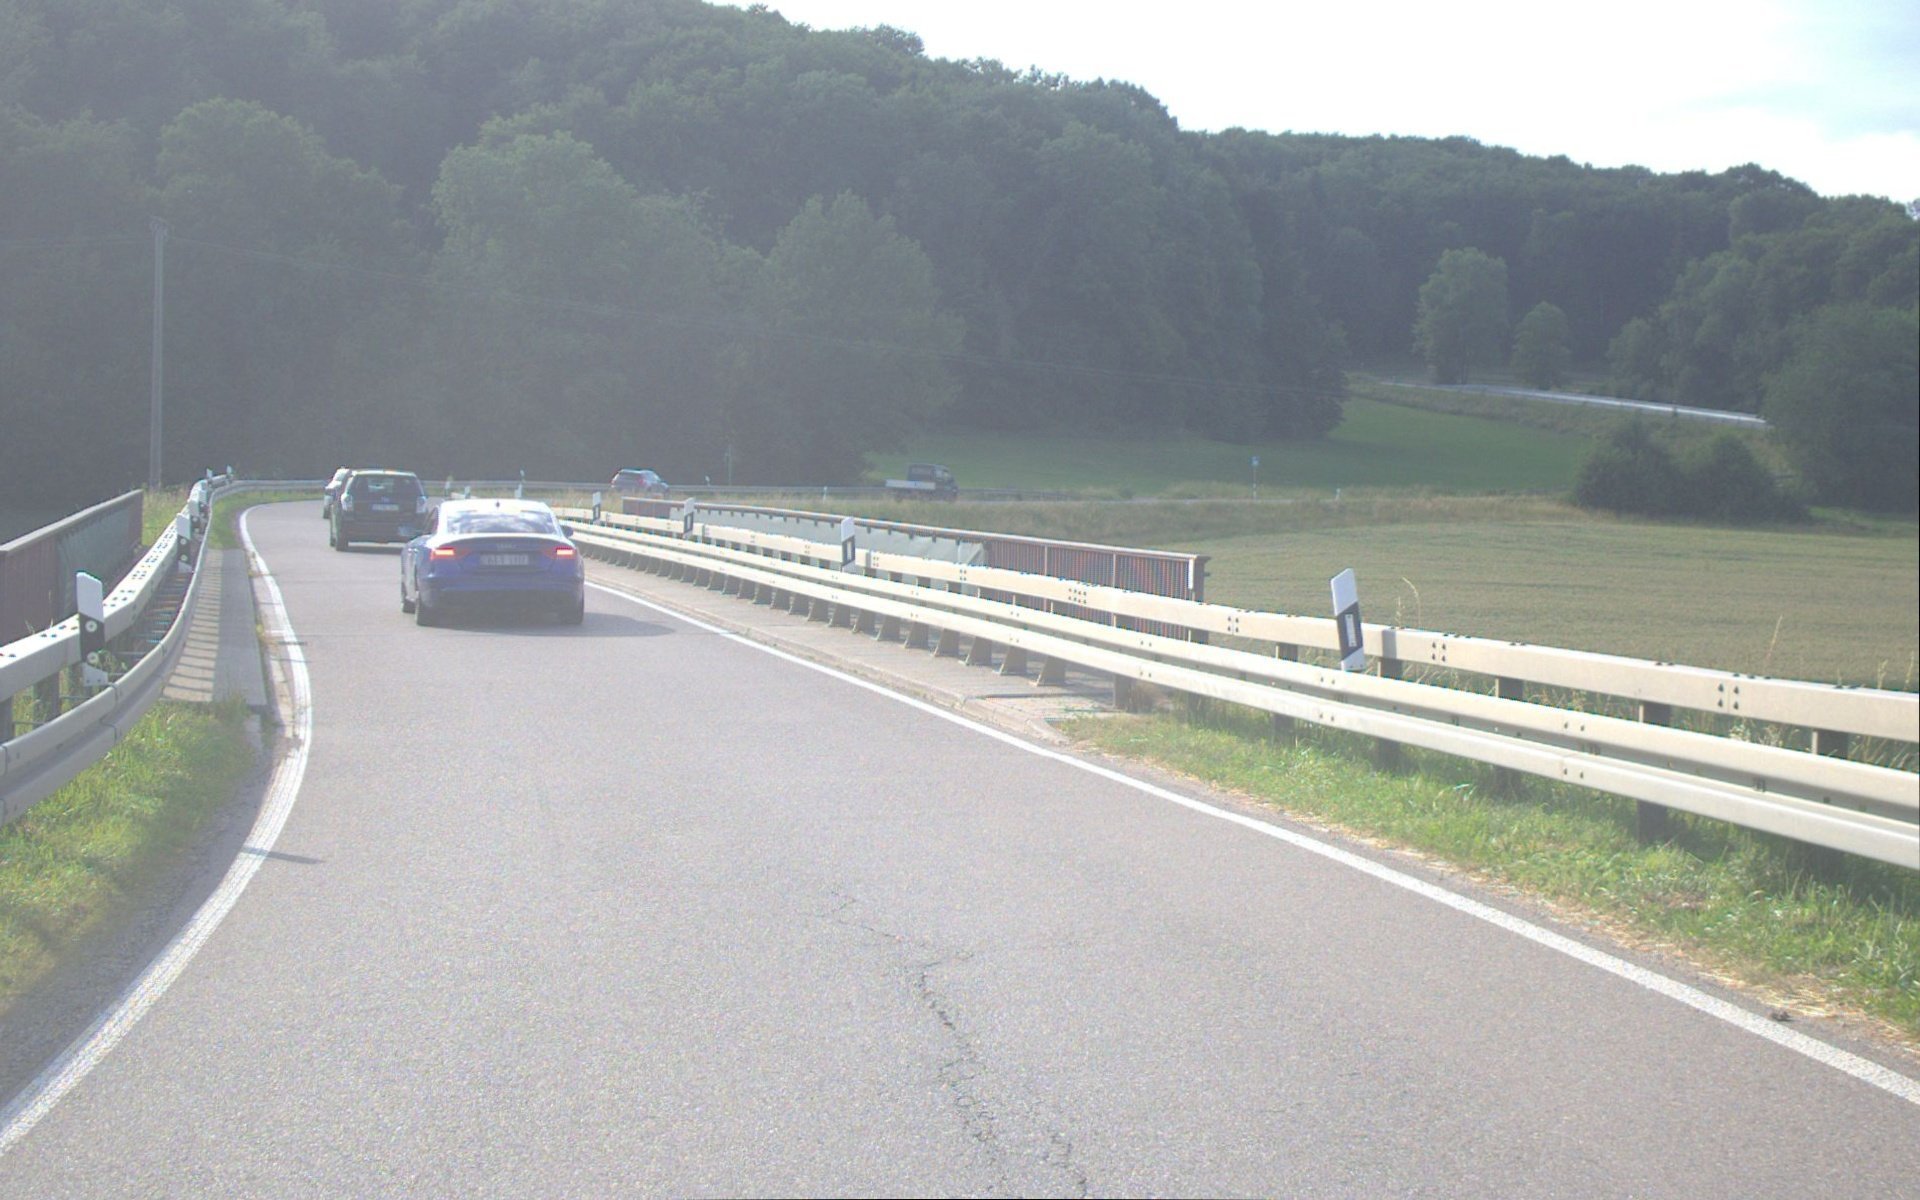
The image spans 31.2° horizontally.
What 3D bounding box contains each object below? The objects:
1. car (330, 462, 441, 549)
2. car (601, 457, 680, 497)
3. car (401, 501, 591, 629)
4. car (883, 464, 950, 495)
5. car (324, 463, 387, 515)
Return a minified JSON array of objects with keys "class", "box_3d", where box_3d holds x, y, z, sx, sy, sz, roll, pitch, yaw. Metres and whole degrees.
[{"class":"car","box_3d":[-11.427,-1.898,68.203,1.861,1.563,4.002,2,2,-13]},{"class":"car","box_3d":[-15.675,-6.028,168.875,1.996,1.673,4.173,4,1,23]},{"class":"car","box_3d":[-5.290,-0.435,38.806,1.818,1.334,4.352,0,2,-12]},{"class":"car","box_3d":[-2.516,-7.019,200.490,1.997,1.765,3.992,2,2,34]},{"class":"car","box_3d":[-16.961,-3.114,96.471,1.682,1.371,4.001,2,2,-10]}]
